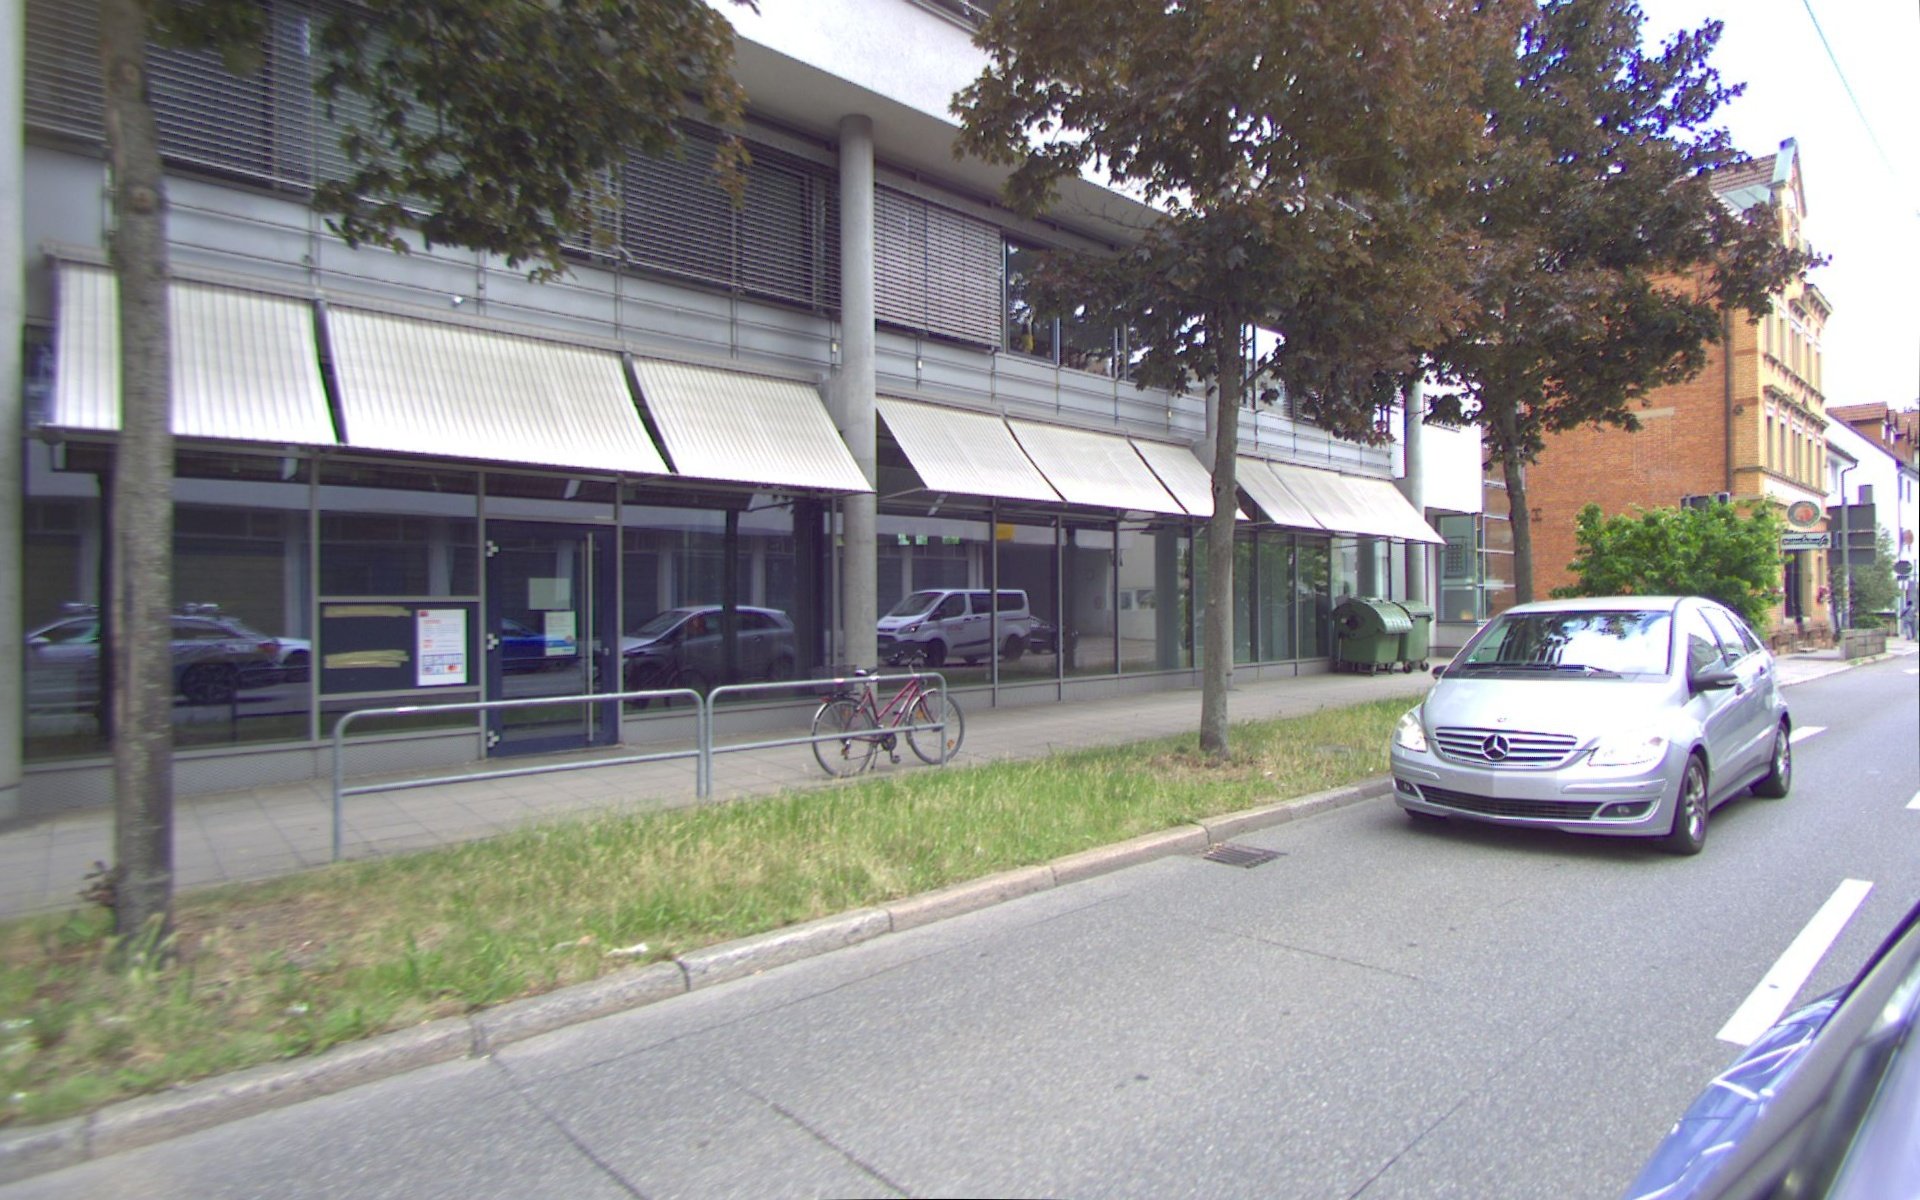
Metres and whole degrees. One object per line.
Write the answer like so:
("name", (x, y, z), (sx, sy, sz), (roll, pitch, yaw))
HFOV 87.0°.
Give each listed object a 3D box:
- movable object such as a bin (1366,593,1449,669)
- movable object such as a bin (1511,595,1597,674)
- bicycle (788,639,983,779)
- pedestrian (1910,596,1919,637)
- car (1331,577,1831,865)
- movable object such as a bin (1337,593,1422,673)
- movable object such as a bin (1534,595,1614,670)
("movable object such as a bin", (9.264, 0.608, 20.941), (1.310, 1.484, 1.123), (0, 1, -43))
("movable object such as a bin", (11.896, 0.649, 20.265), (1.389, 1.484, 1.129), (0, 1, -43))
("bicycle", (-0.633, 0.943, 9.271), (1.993, 1.100, 0.361), (0, -1, -43))
("pedestrian", (41.463, 0.698, 43.633), (0.639, 1.753, 0.689), (0, -1, -43))
("car", (4.944, 0.693, 7.772), (4.491, 1.566, 1.996), (0, -2, -41))
("movable object such as a bin", (8.294, 0.619, 20.019), (1.310, 1.484, 1.099), (0, 1, -43))
("movable object such as a bin", (12.863, 0.643, 21.206), (1.310, 1.484, 1.099), (0, 1, -43))
